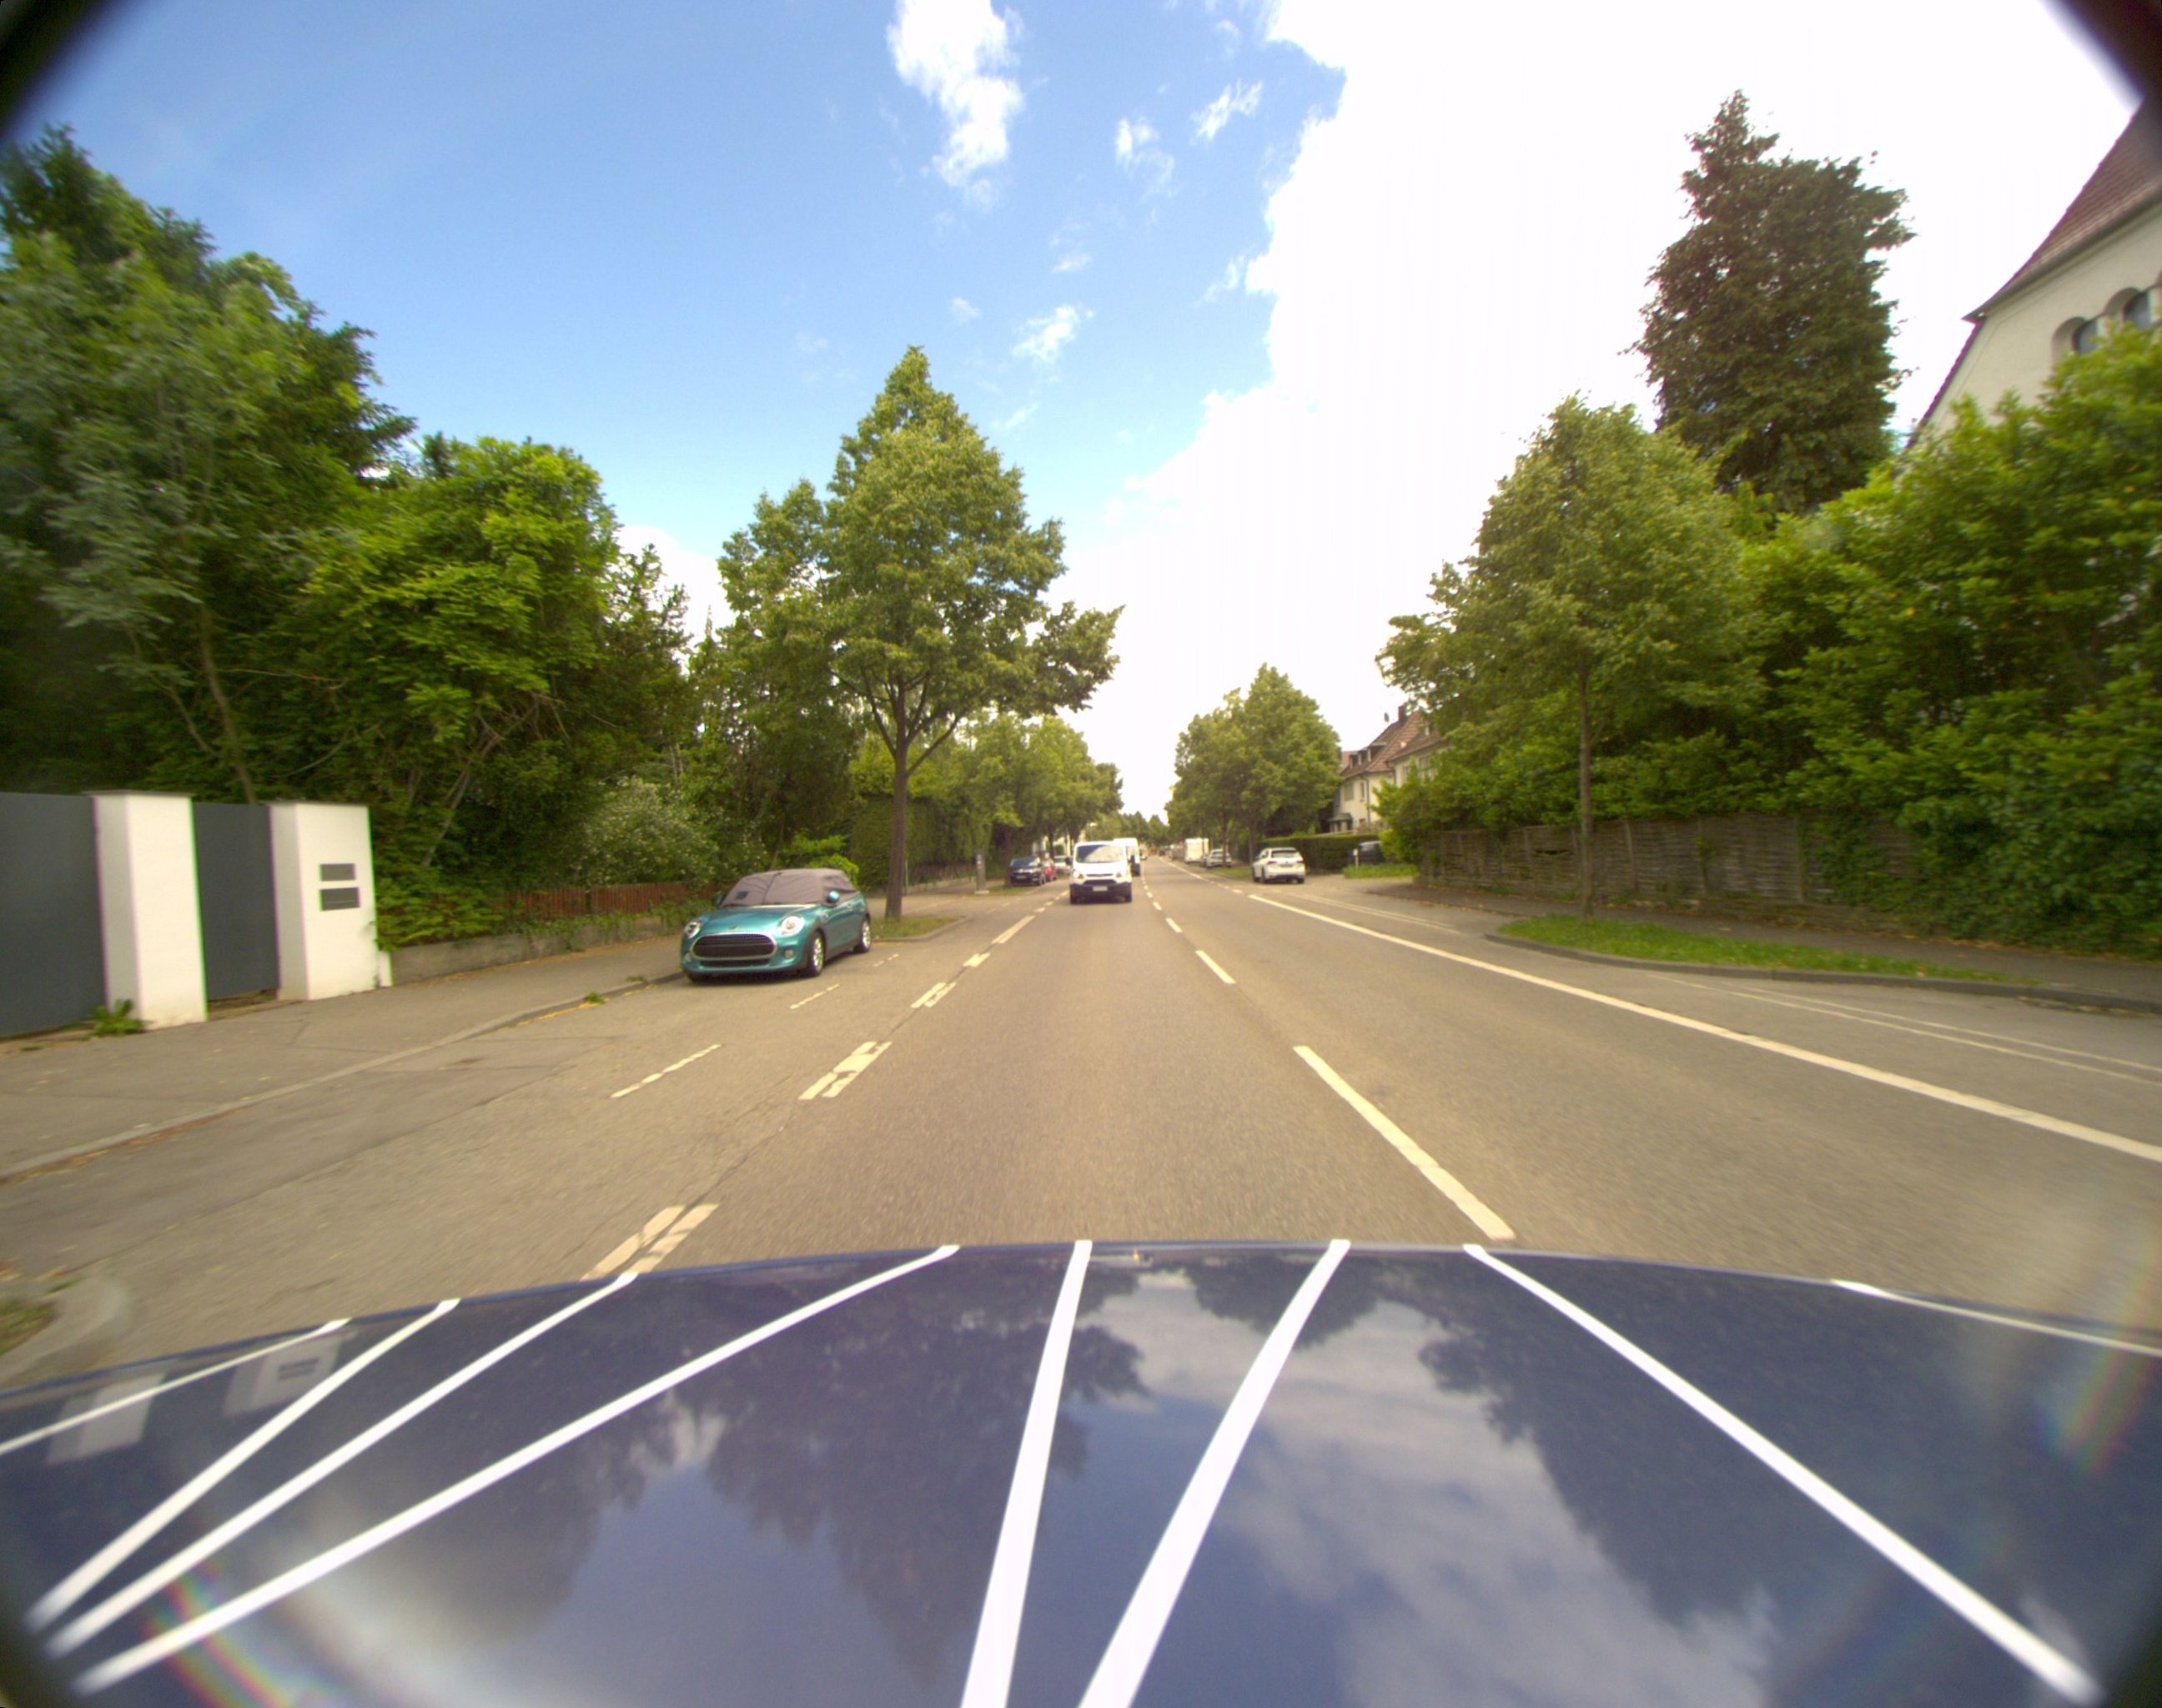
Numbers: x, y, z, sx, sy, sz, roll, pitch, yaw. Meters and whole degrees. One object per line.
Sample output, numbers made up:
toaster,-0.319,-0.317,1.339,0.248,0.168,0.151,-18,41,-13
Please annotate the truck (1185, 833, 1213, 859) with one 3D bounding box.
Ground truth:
truck,13.705,-0.950,88.536,2.641,2.757,6.258,-2,1,4

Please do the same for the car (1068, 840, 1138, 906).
car,0.722,0.512,25.746,2.075,1.956,5.556,-1,1,1

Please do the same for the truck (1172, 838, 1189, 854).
truck,16.265,-1.257,124.143,1.999,2.530,4.498,-2,1,0

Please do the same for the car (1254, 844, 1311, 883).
car,9.375,0.412,35.710,1.916,1.643,4.001,-2,0,5

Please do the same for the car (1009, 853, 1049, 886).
car,-2.732,0.783,40.395,1.776,1.588,3.815,-2,0,1

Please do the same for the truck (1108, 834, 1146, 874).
truck,3.154,0.014,52.865,2.036,2.555,6.056,-1,0,-2

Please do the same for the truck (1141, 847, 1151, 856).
truck,11.763,-0.482,137.170,1.618,1.649,4.001,-1,0,3

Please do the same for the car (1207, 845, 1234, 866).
car,11.530,0.119,62.972,1.889,1.606,4.001,-2,0,5

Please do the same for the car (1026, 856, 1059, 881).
car,-2.301,0.853,45.899,1.741,1.389,3.705,-2,0,1

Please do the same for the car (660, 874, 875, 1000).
car,-4.324,1.060,11.111,1.667,1.398,3.657,-2,0,-2

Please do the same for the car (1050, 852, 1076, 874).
car,-1.354,0.659,58.251,1.748,1.507,4.000,-2,0,1
